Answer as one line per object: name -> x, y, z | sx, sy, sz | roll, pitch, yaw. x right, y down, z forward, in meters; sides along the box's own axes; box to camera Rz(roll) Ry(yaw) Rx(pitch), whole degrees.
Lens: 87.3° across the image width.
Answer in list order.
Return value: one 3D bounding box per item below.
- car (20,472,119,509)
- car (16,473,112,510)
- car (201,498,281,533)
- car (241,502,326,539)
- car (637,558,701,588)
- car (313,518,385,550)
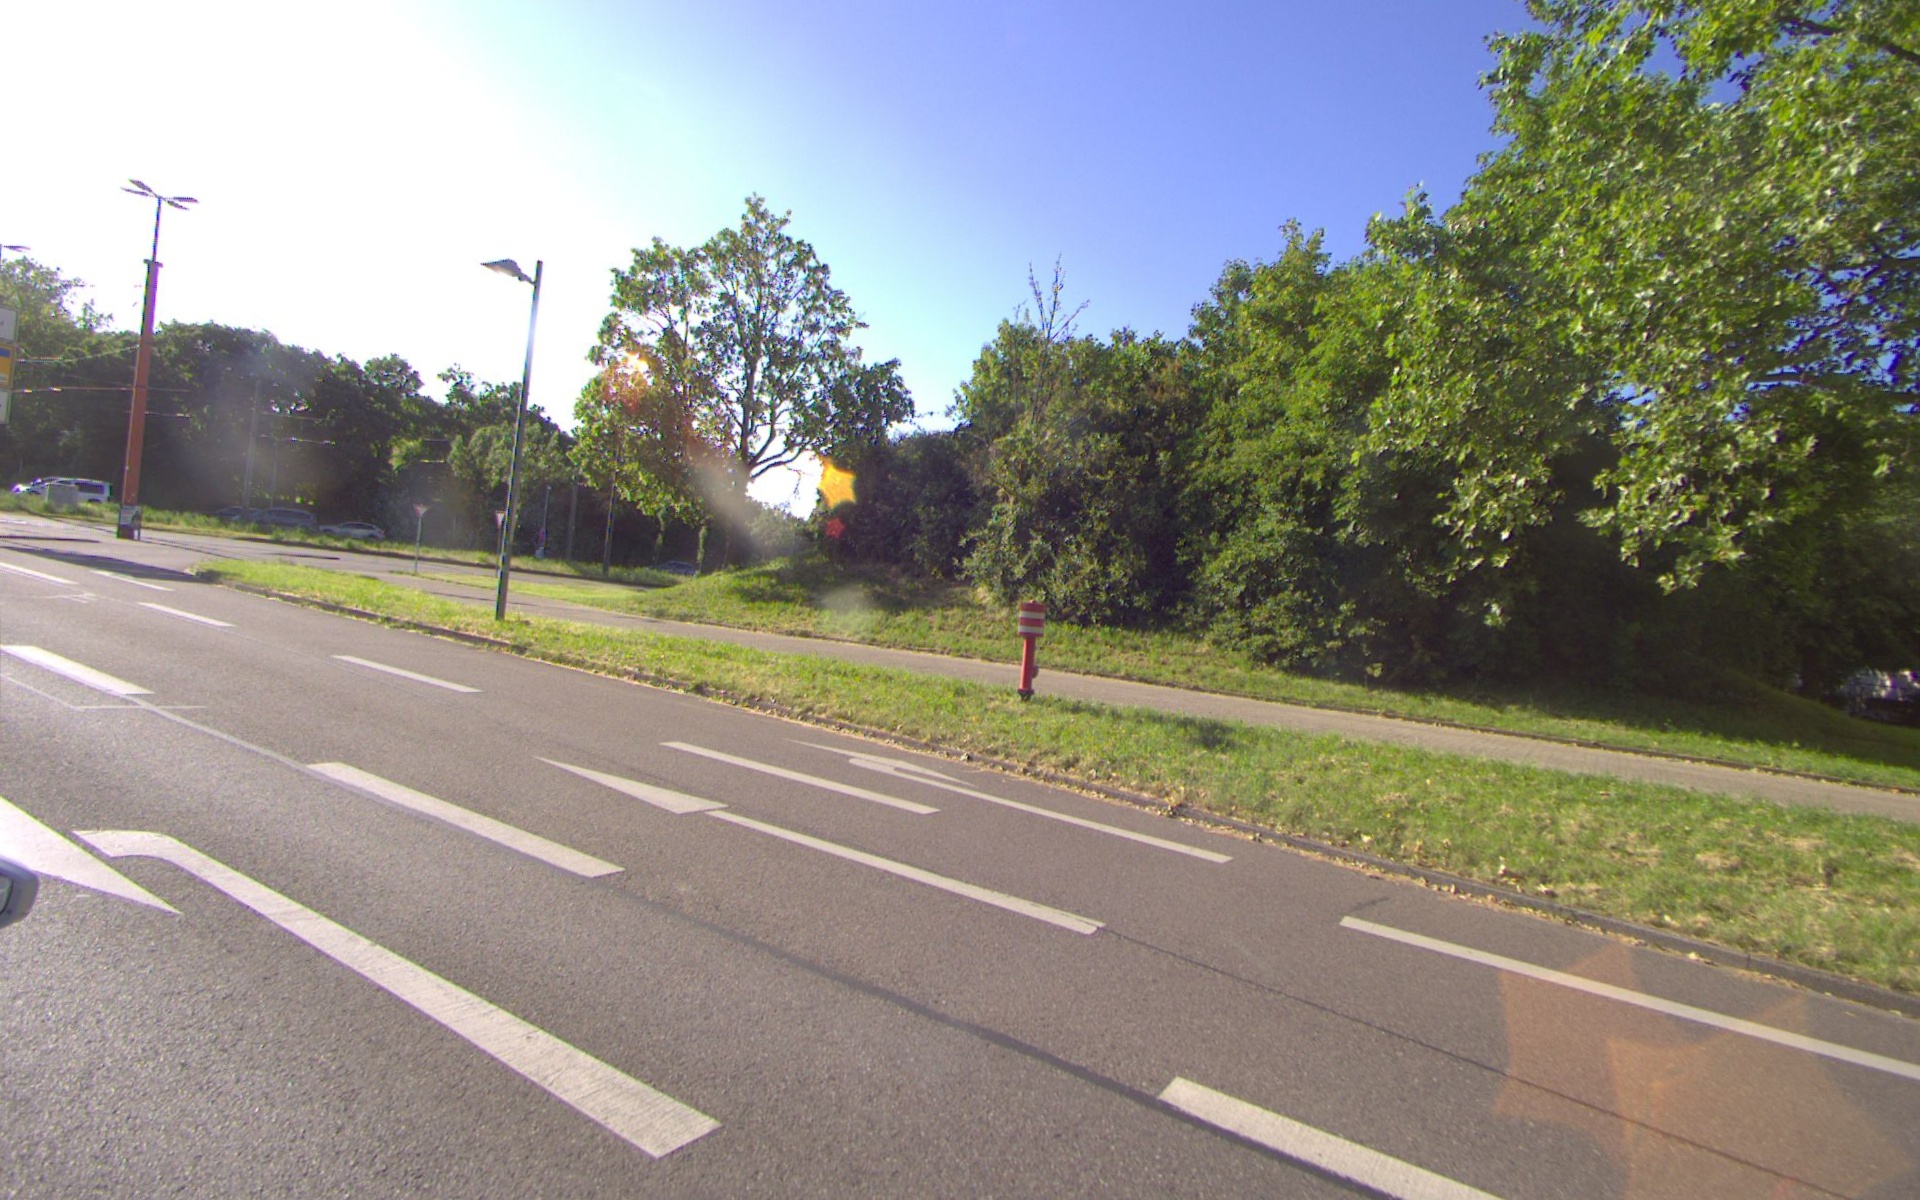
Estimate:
car -> -51.730, -6.356, 58.520 | 3.961, 1.353, 1.714 | 8, -1, -33
car -> -54.068, -6.523, 60.780 | 3.962, 1.493, 1.774 | 8, -1, -33
car -> -46.561, -5.455, 65.273 | 3.960, 1.579, 1.884 | 8, -1, -32
car -> -42.957, -5.013, 63.980 | 4.324, 1.577, 1.856 | 8, -1, -34
car -> -22.330, -2.083, 77.200 | 4.231, 1.646, 1.913 | 8, -1, -32
car -> -41.528, -4.476, 68.441 | 3.960, 1.513, 1.846 | 8, -1, -32
